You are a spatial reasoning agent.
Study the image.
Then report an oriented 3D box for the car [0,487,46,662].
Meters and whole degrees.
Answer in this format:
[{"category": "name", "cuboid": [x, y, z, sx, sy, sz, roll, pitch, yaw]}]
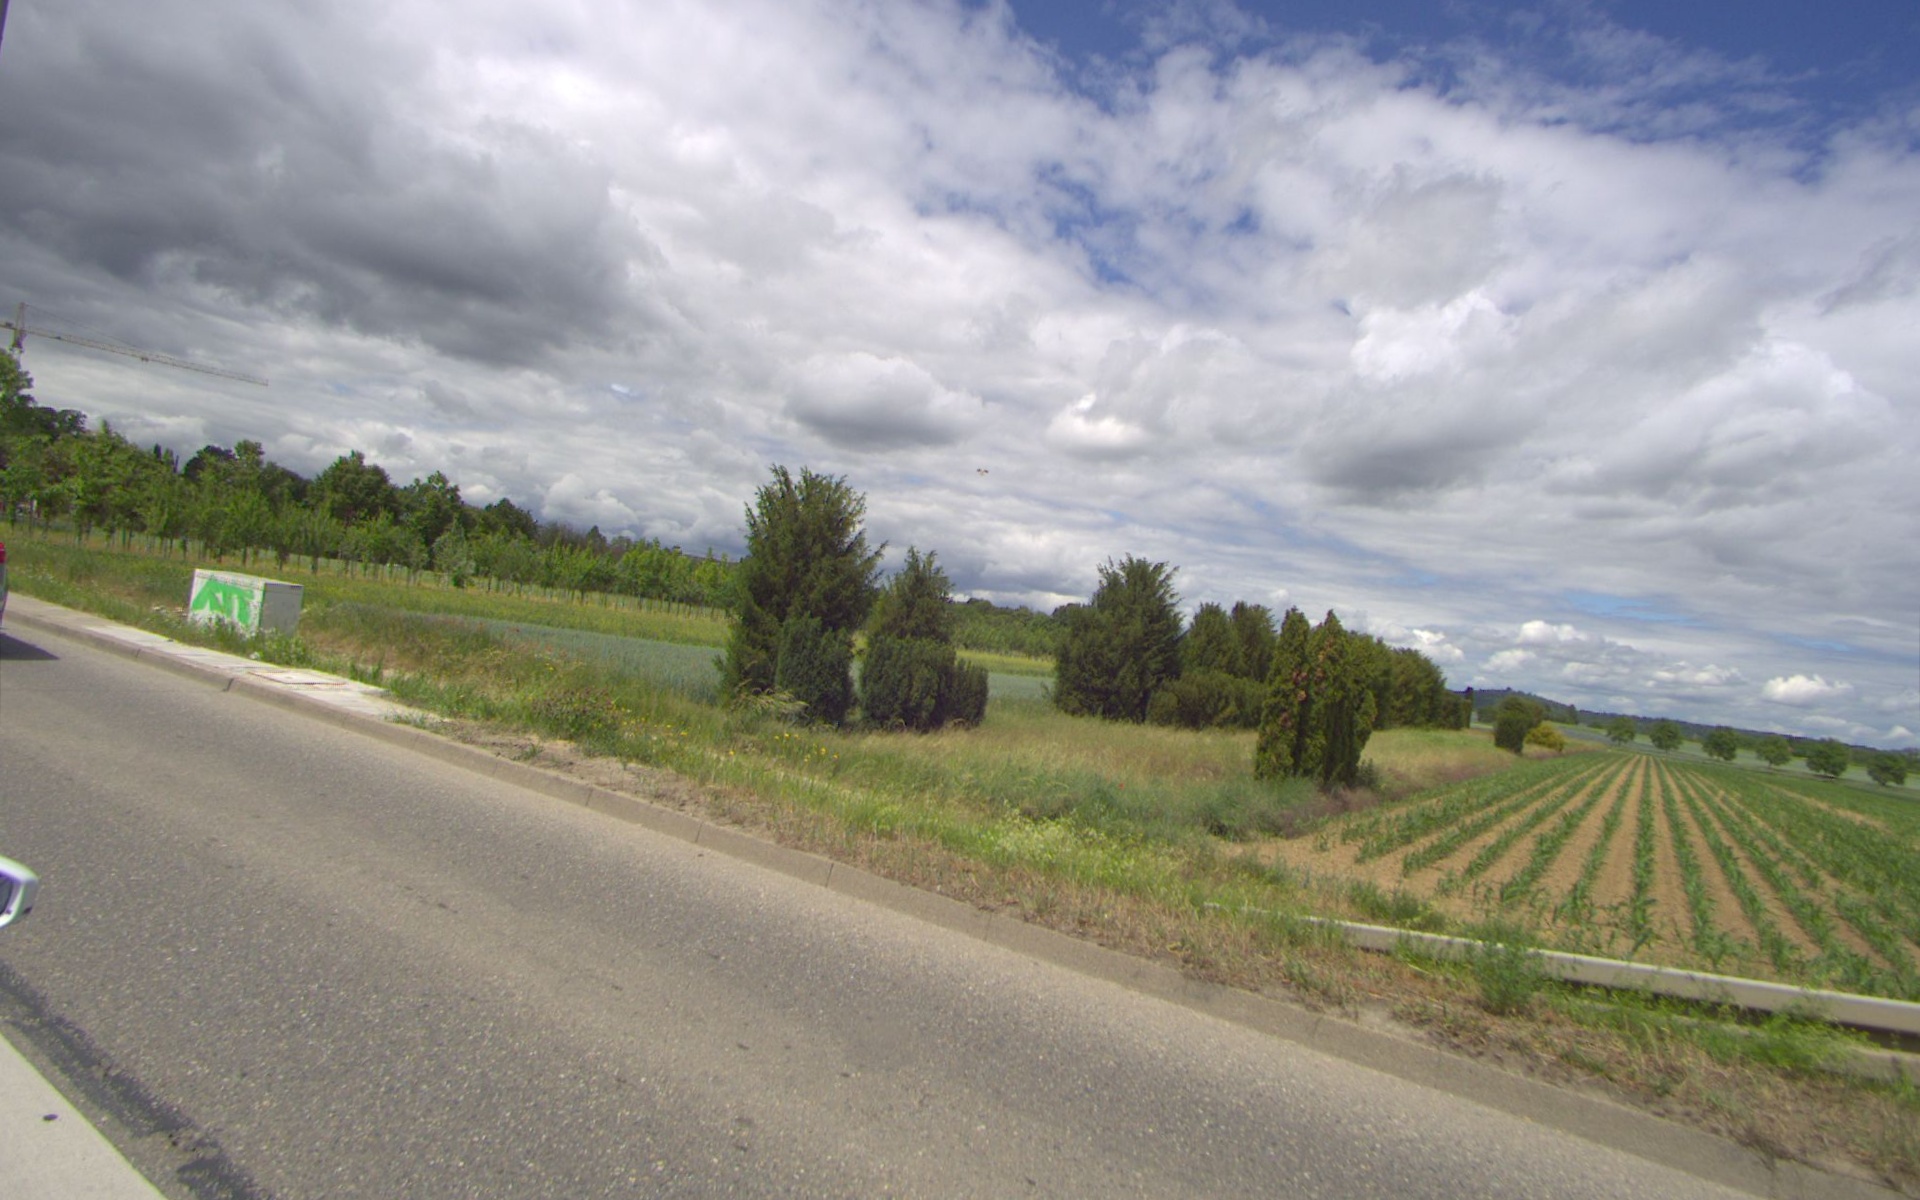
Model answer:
[{"category": "car", "cuboid": [-10.673, -0.466, 9.451, 4.269, 1.544, 1.960, 6, 0, 33]}]
